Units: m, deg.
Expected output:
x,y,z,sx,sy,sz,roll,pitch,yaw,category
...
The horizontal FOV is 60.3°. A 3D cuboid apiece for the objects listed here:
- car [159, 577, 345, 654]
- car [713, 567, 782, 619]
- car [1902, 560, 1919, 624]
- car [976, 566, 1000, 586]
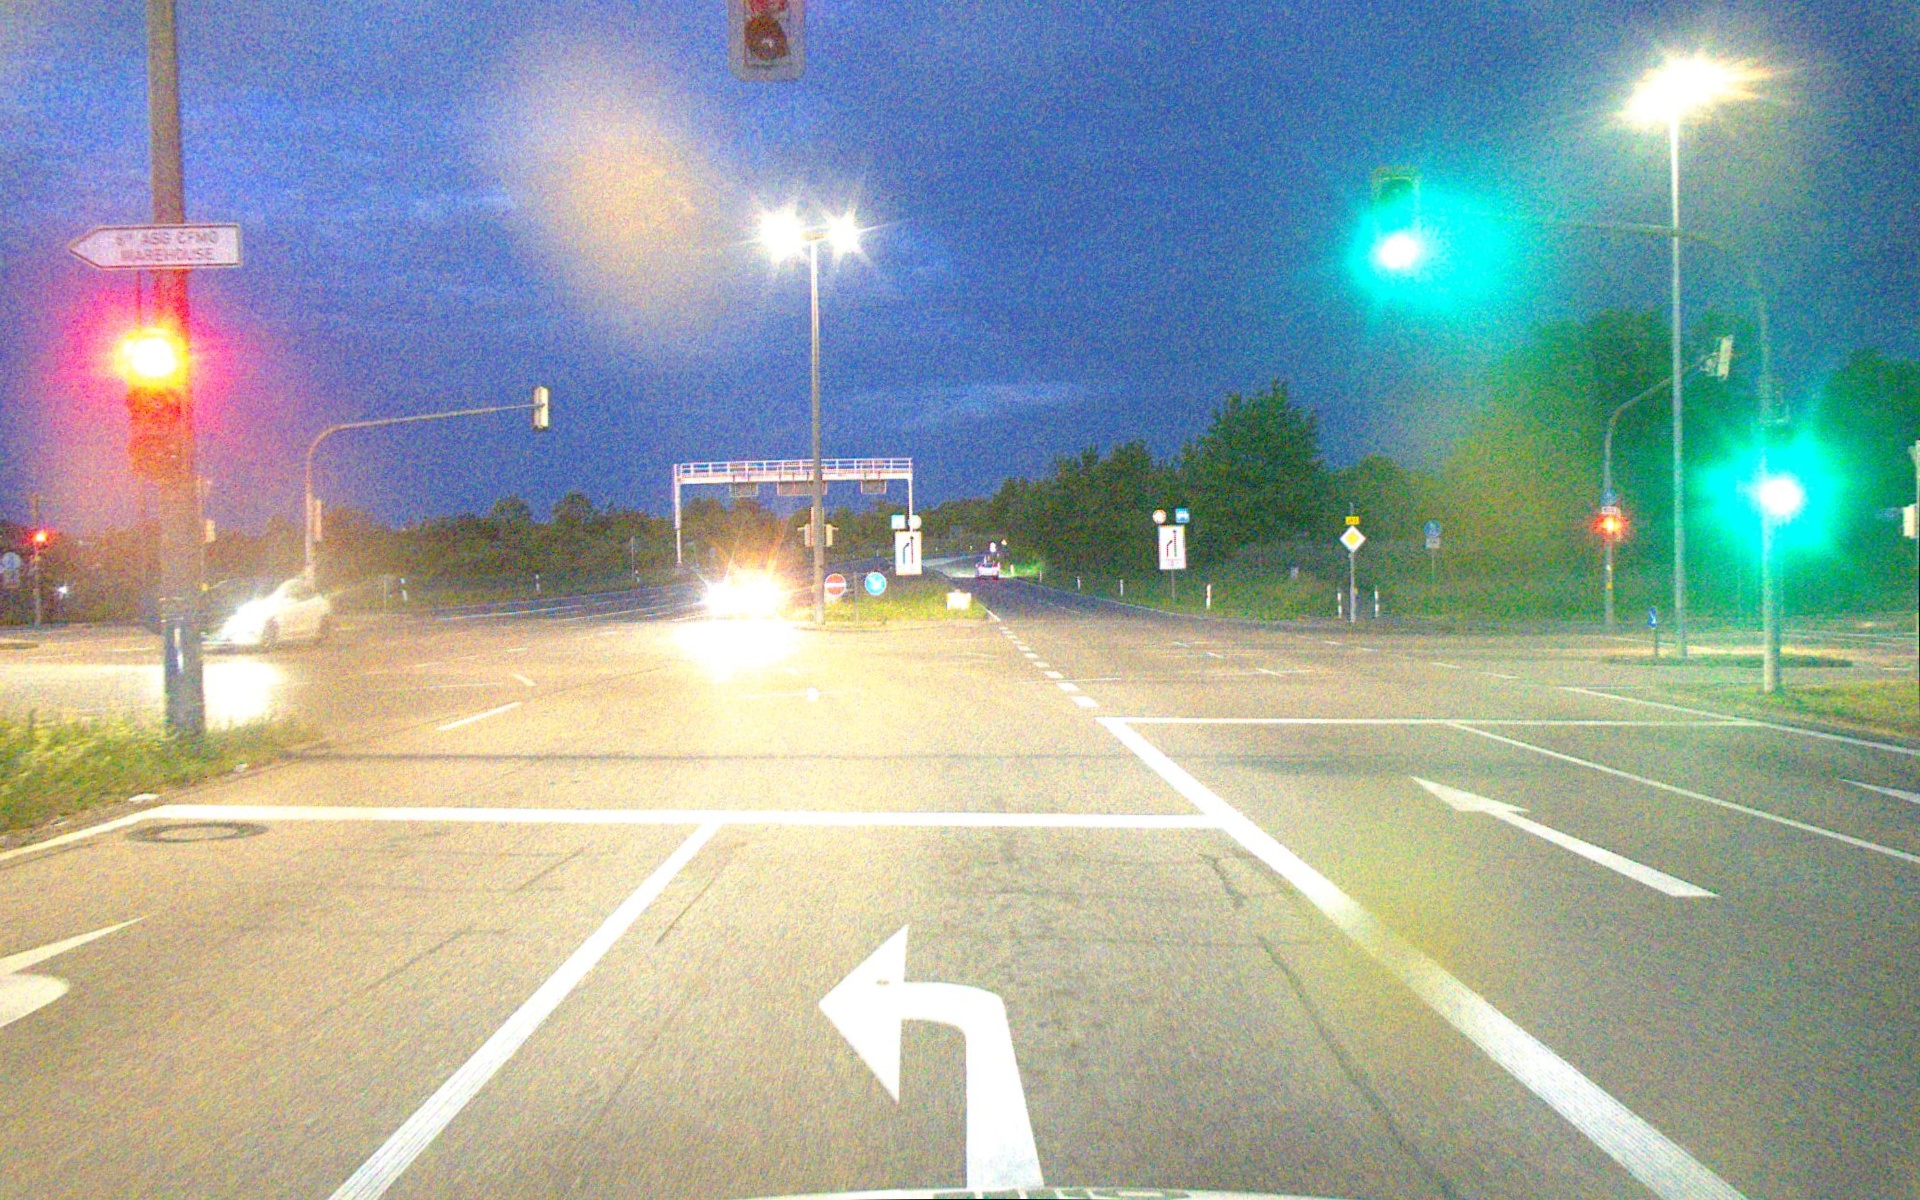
x,y,z,sx,sy,sz,roll,pitch,yaw,category
-14.343,0.267,33.827,1.953,1.450,4.531,0,1,-2,car
-7.210,-0.261,56.435,1.953,1.728,3.999,0,1,-2,car
25.964,-0.225,41.246,3.908,1.596,1.899,-1,1,-4,car
2.417,-2.072,141.475,1.966,1.639,3.846,0,1,1,car
